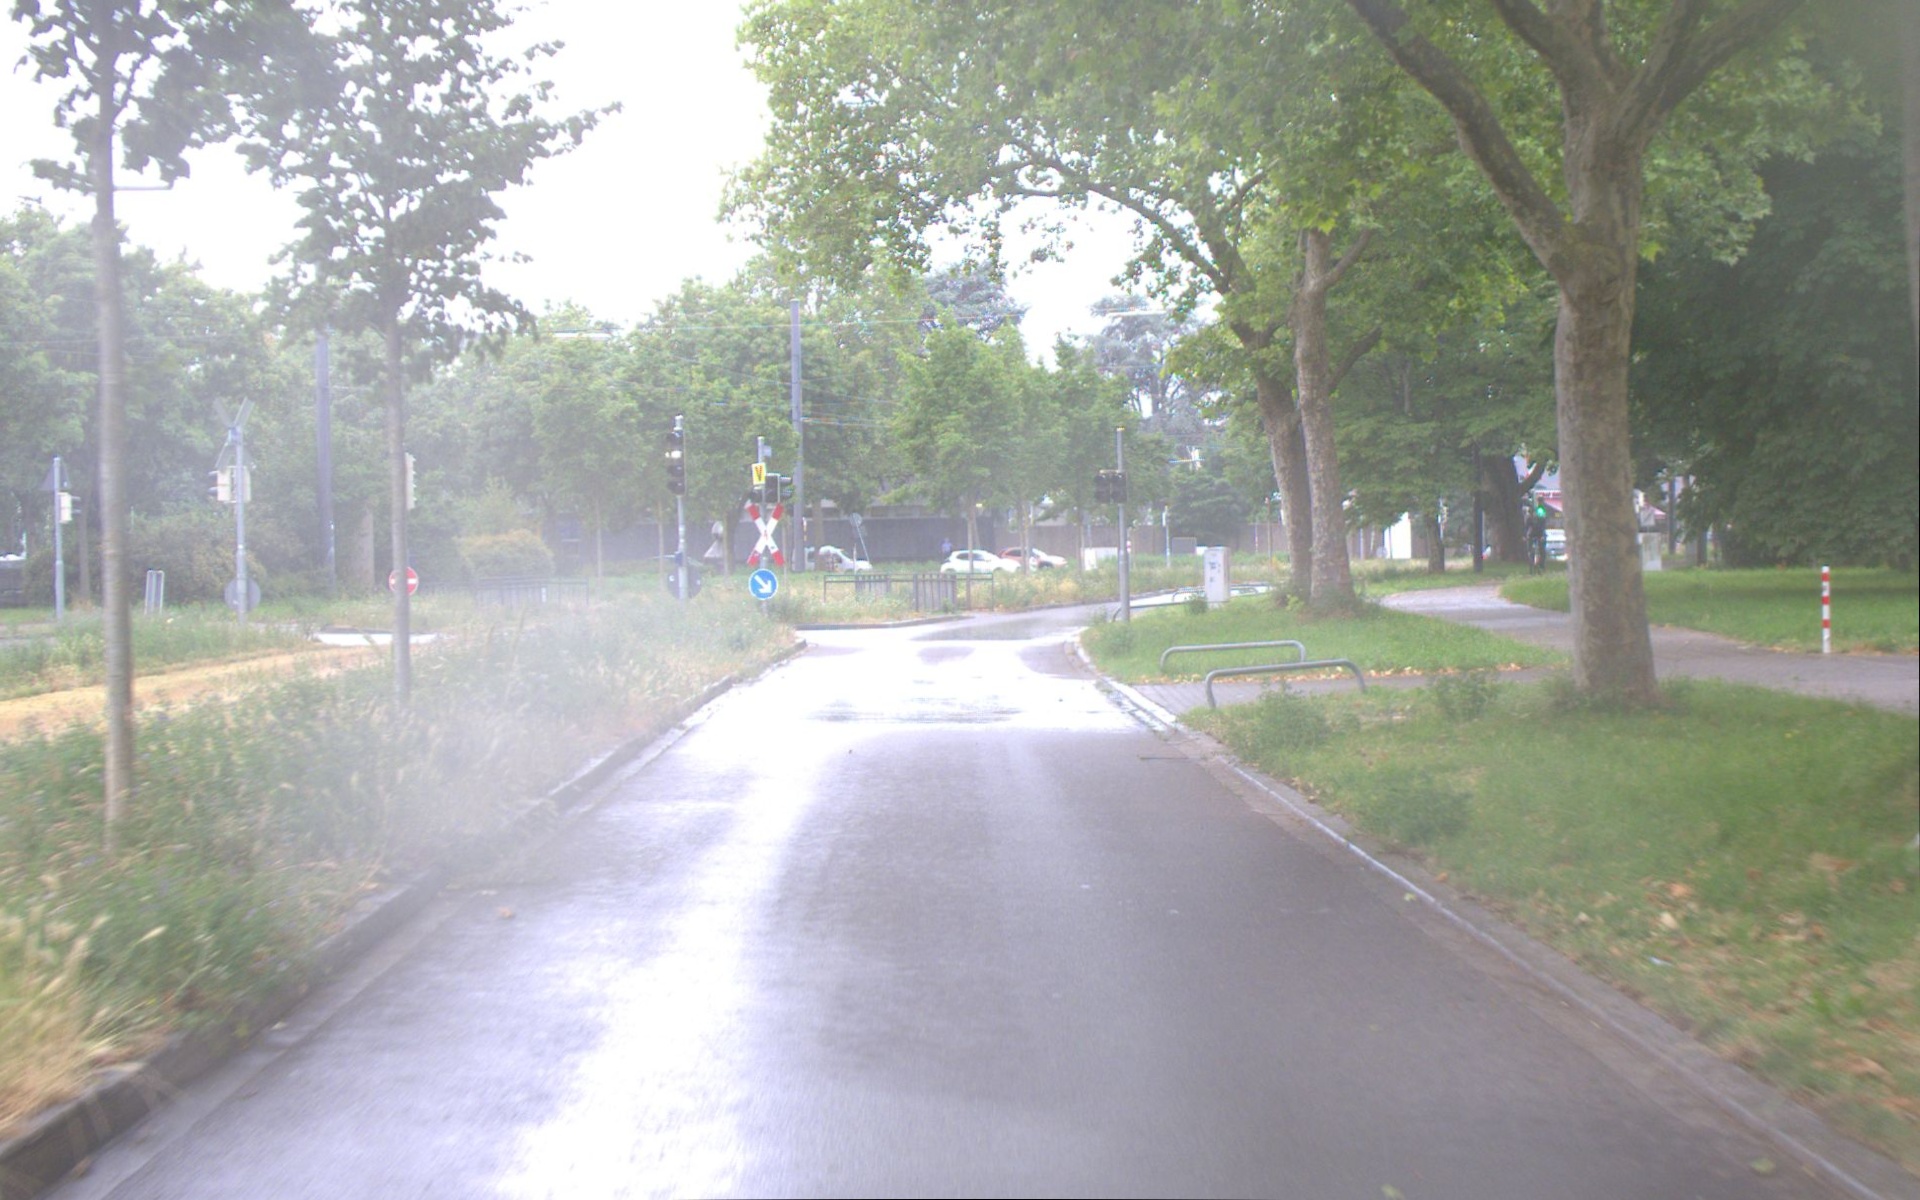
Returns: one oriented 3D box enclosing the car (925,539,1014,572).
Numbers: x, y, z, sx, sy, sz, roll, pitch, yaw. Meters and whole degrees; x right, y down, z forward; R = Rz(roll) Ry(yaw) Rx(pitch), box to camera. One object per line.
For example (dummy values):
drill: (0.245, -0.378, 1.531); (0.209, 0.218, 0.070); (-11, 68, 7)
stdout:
car: (0.480, -2.223, 171.654); (4.068, 1.494, 1.651); (-1, 0, 17)

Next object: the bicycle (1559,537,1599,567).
bicycle: (15.913, -1.239, 88.372); (0.487, 0.706, 1.455); (-1, 3, 31)

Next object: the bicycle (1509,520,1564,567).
bicycle: (14.919, -1.468, 88.944); (0.712, 1.138, 1.969); (0, 3, 31)

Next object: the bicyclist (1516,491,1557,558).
bicyclist: (14.916, -1.959, 88.937); (0.712, 1.715, 0.956); (0, 2, 31)

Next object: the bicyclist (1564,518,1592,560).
bicyclist: (15.887, -1.567, 88.345); (0.487, 1.034, 0.590); (-1, 2, 31)
